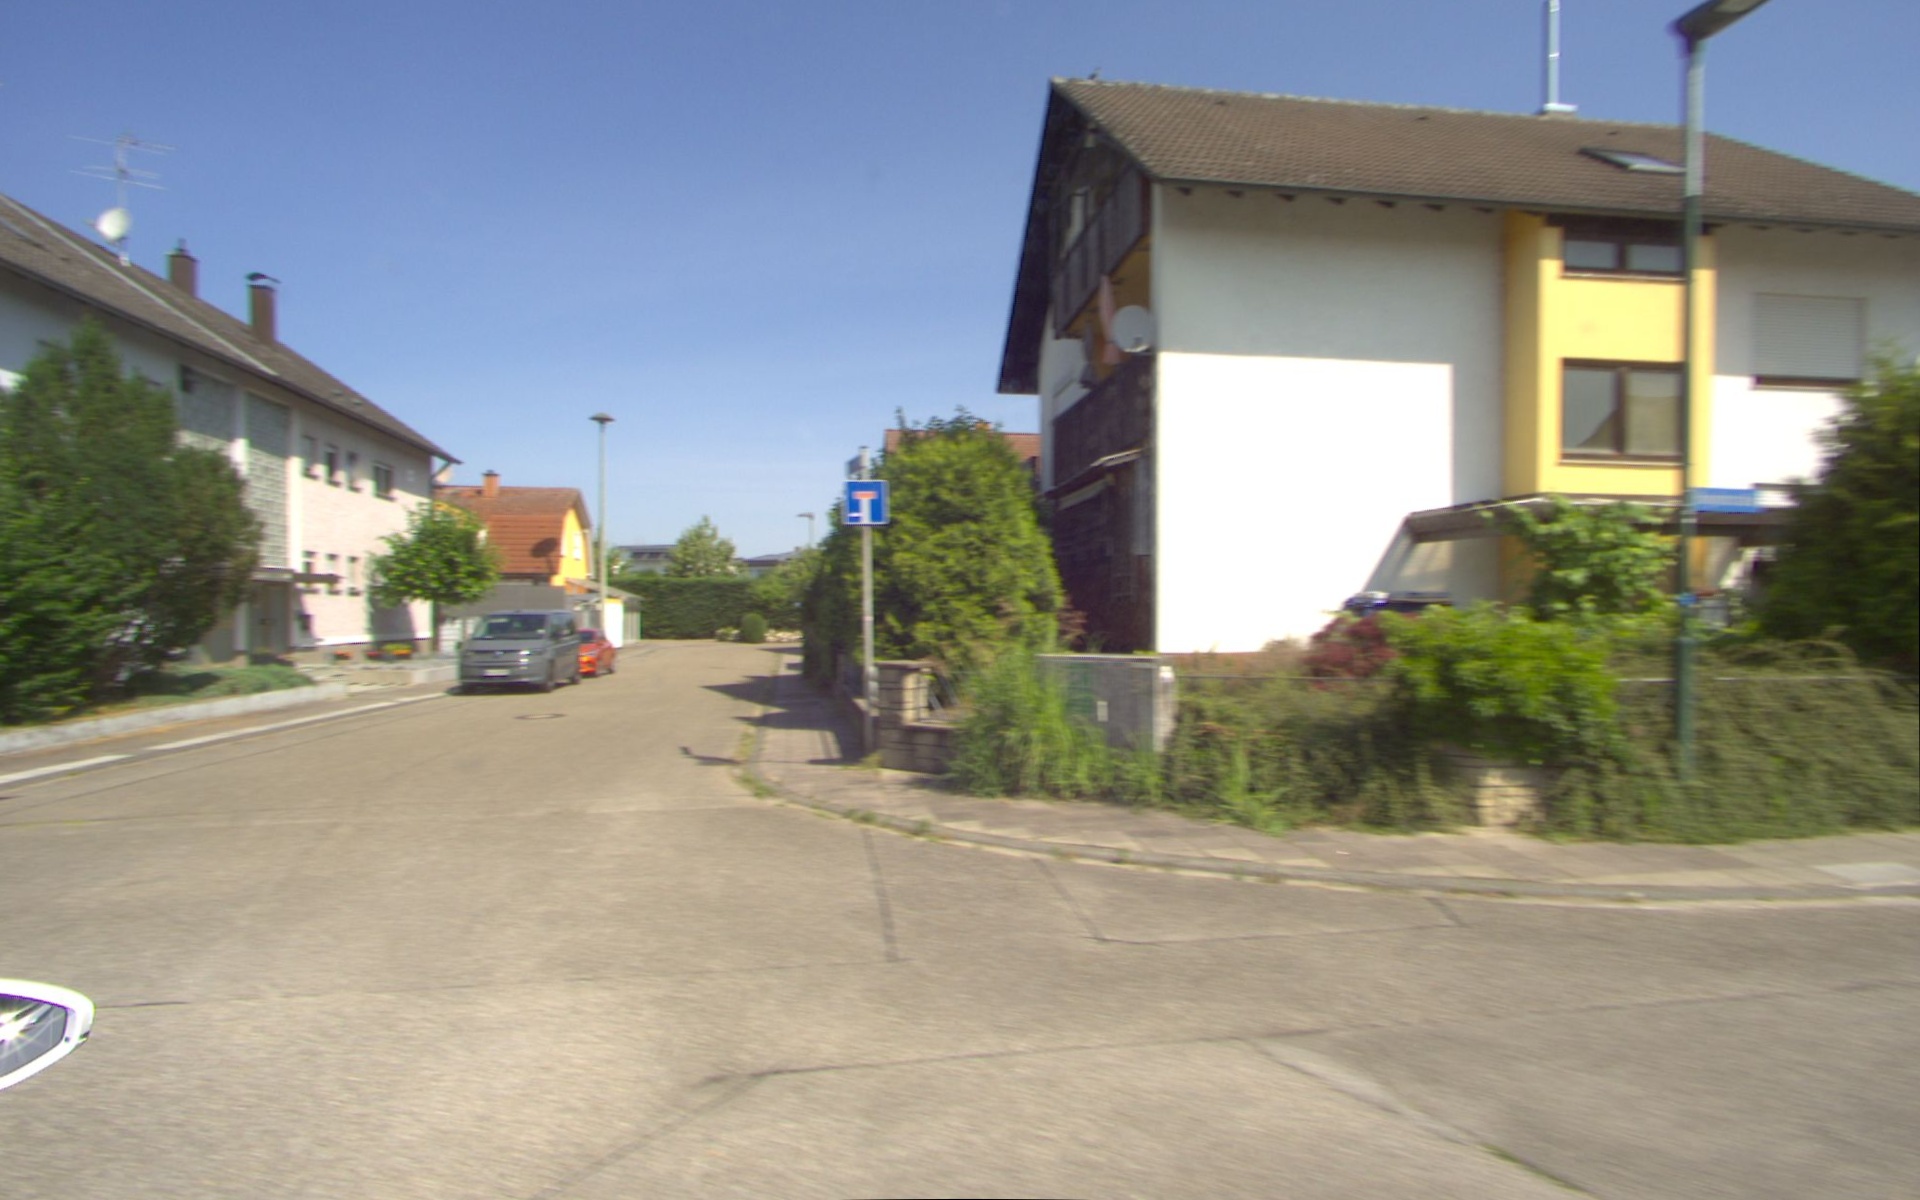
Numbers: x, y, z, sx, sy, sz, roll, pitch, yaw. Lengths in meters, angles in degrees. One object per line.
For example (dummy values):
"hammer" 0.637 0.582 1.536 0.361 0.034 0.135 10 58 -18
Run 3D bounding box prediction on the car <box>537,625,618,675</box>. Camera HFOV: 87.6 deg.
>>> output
"car" -11.503 1.465 30.328 1.626 1.382 3.776 0 -1 -11

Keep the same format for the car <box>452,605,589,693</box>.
"car" -10.324 1.086 23.876 1.871 1.894 4.370 0 -1 -8
